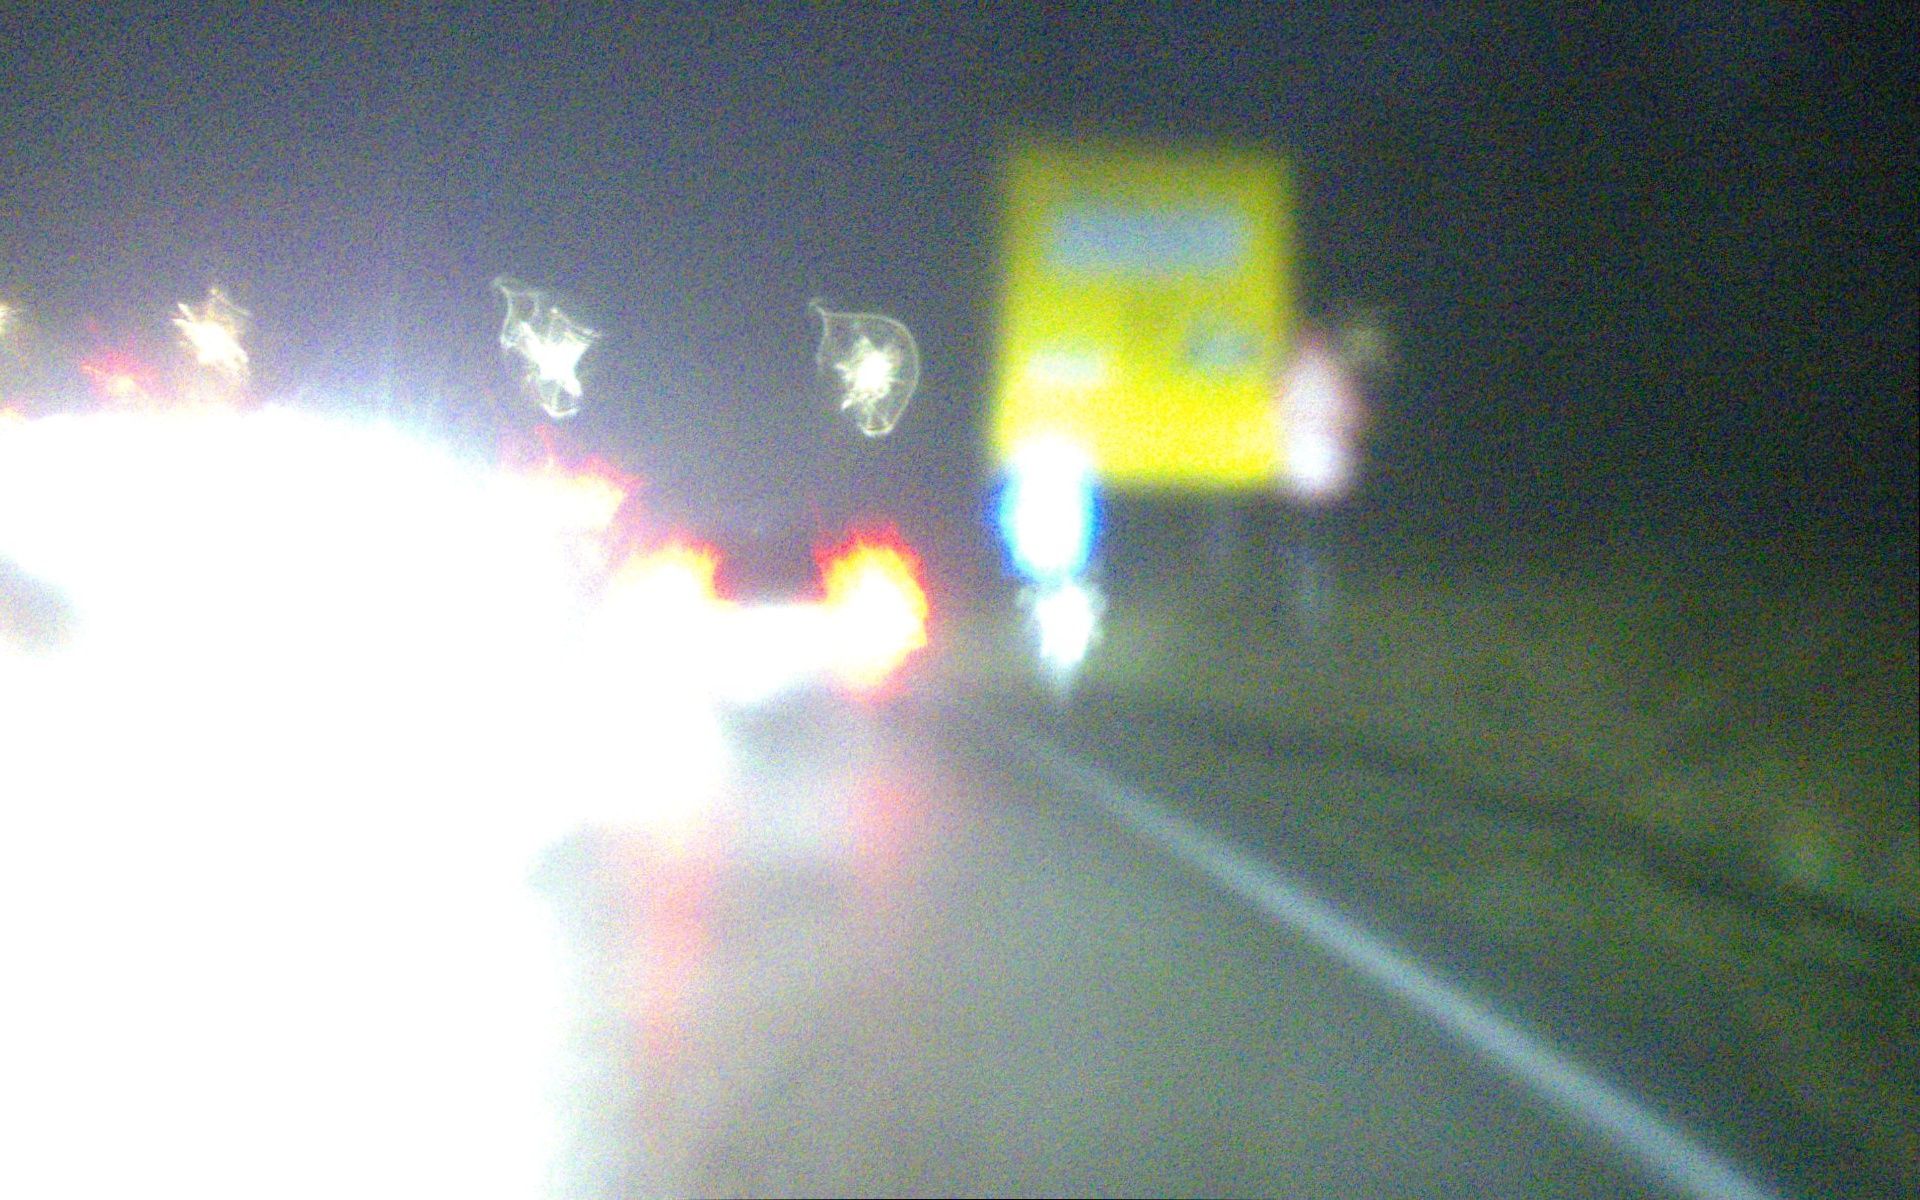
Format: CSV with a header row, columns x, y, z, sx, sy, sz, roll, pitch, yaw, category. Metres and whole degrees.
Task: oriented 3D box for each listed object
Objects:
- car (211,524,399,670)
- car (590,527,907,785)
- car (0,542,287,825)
x,y,z,sx,sy,sz,roll,pitch,yaw,category
-6.617,-0.062,34.975,1.771,1.384,4.114,0,1,-10,car
-1.488,0.311,24.331,1.993,1.622,4.985,1,1,-3,car
-5.061,0.404,20.196,1.771,1.478,4.382,0,1,-6,car
